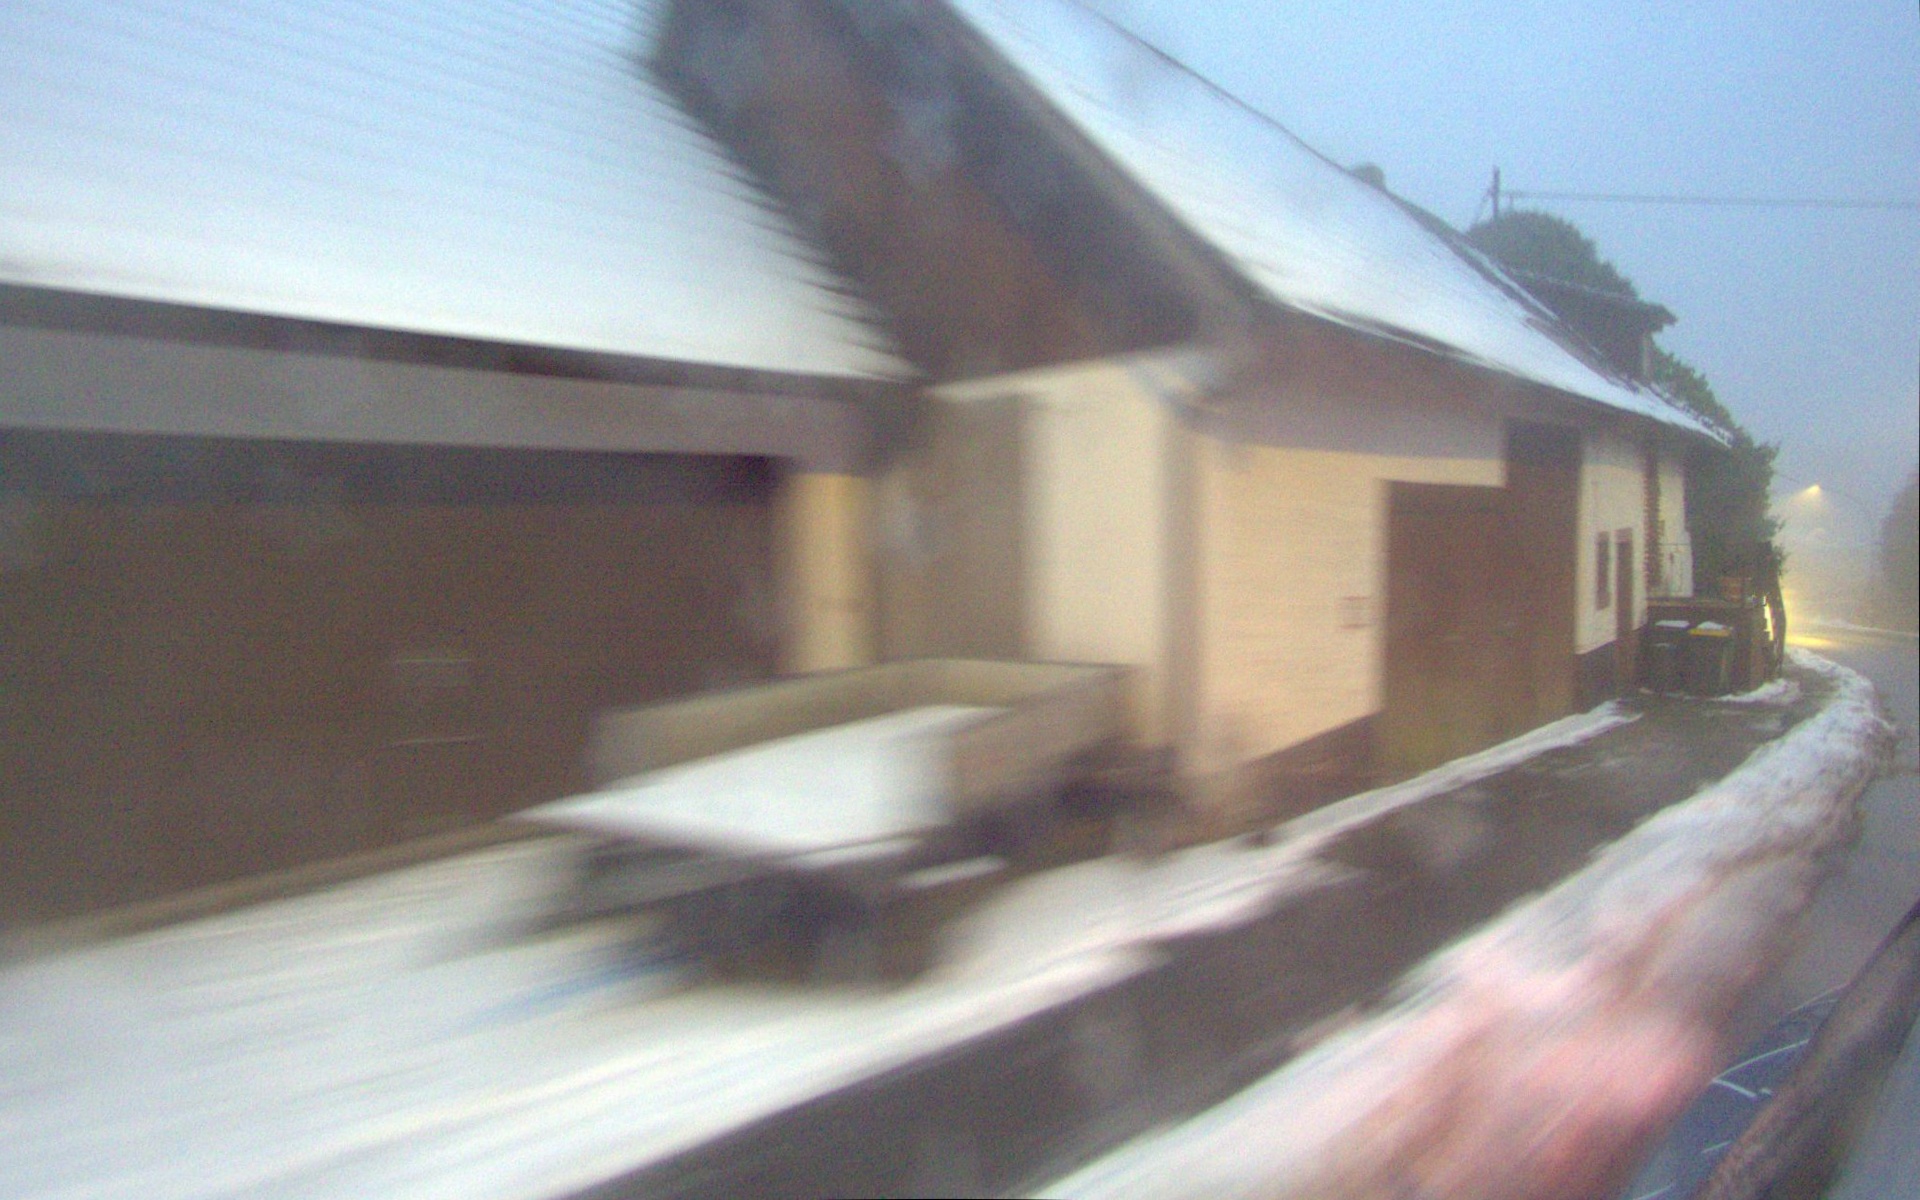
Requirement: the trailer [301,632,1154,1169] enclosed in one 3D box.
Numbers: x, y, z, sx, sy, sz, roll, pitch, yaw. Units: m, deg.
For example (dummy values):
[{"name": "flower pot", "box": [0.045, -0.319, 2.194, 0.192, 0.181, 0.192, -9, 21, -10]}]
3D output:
[{"name": "trailer", "box": [-0.445, 0.775, 4.503, 1.535, 0.957, 3.964, 3, 3, 27]}]
